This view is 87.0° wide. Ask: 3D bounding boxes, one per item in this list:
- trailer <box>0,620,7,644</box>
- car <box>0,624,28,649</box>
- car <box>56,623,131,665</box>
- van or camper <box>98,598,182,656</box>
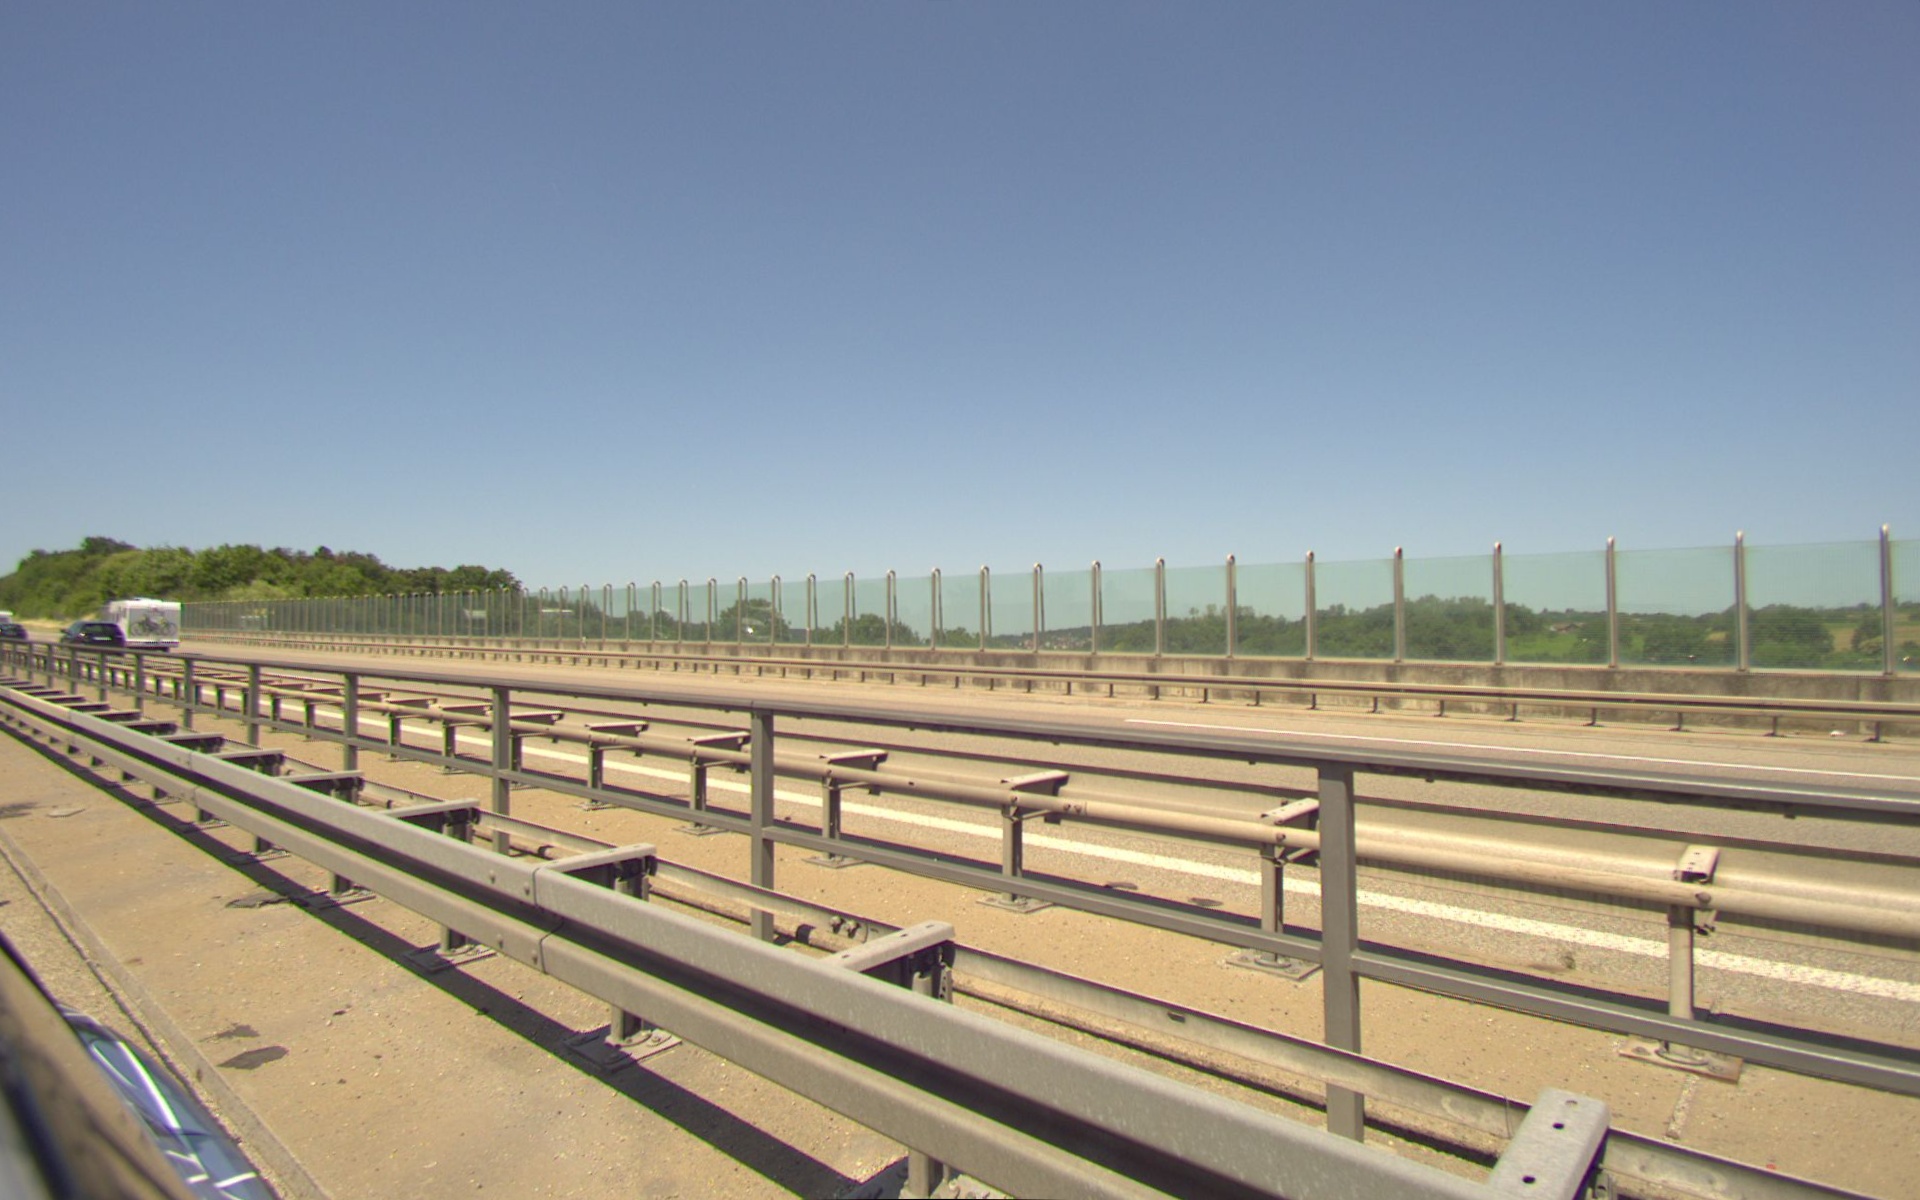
[{"bbox_3d":[-104.845,3.409,109.053,6.771,2.569,2.467,-2,-4,41],"label":"trailer"},{"bbox_3d":[-62.272,2.372,65.869,4.422,1.543,1.848,-2,-5,41],"label":"car"},{"bbox_3d":[-37.423,1.849,43.671,4.428,1.713,1.848,-2,-2,41],"label":"car"},{"bbox_3d":[-45.392,1.525,55.950,7.023,3.047,2.397,-2,-4,41],"label":"van or camper"}]
